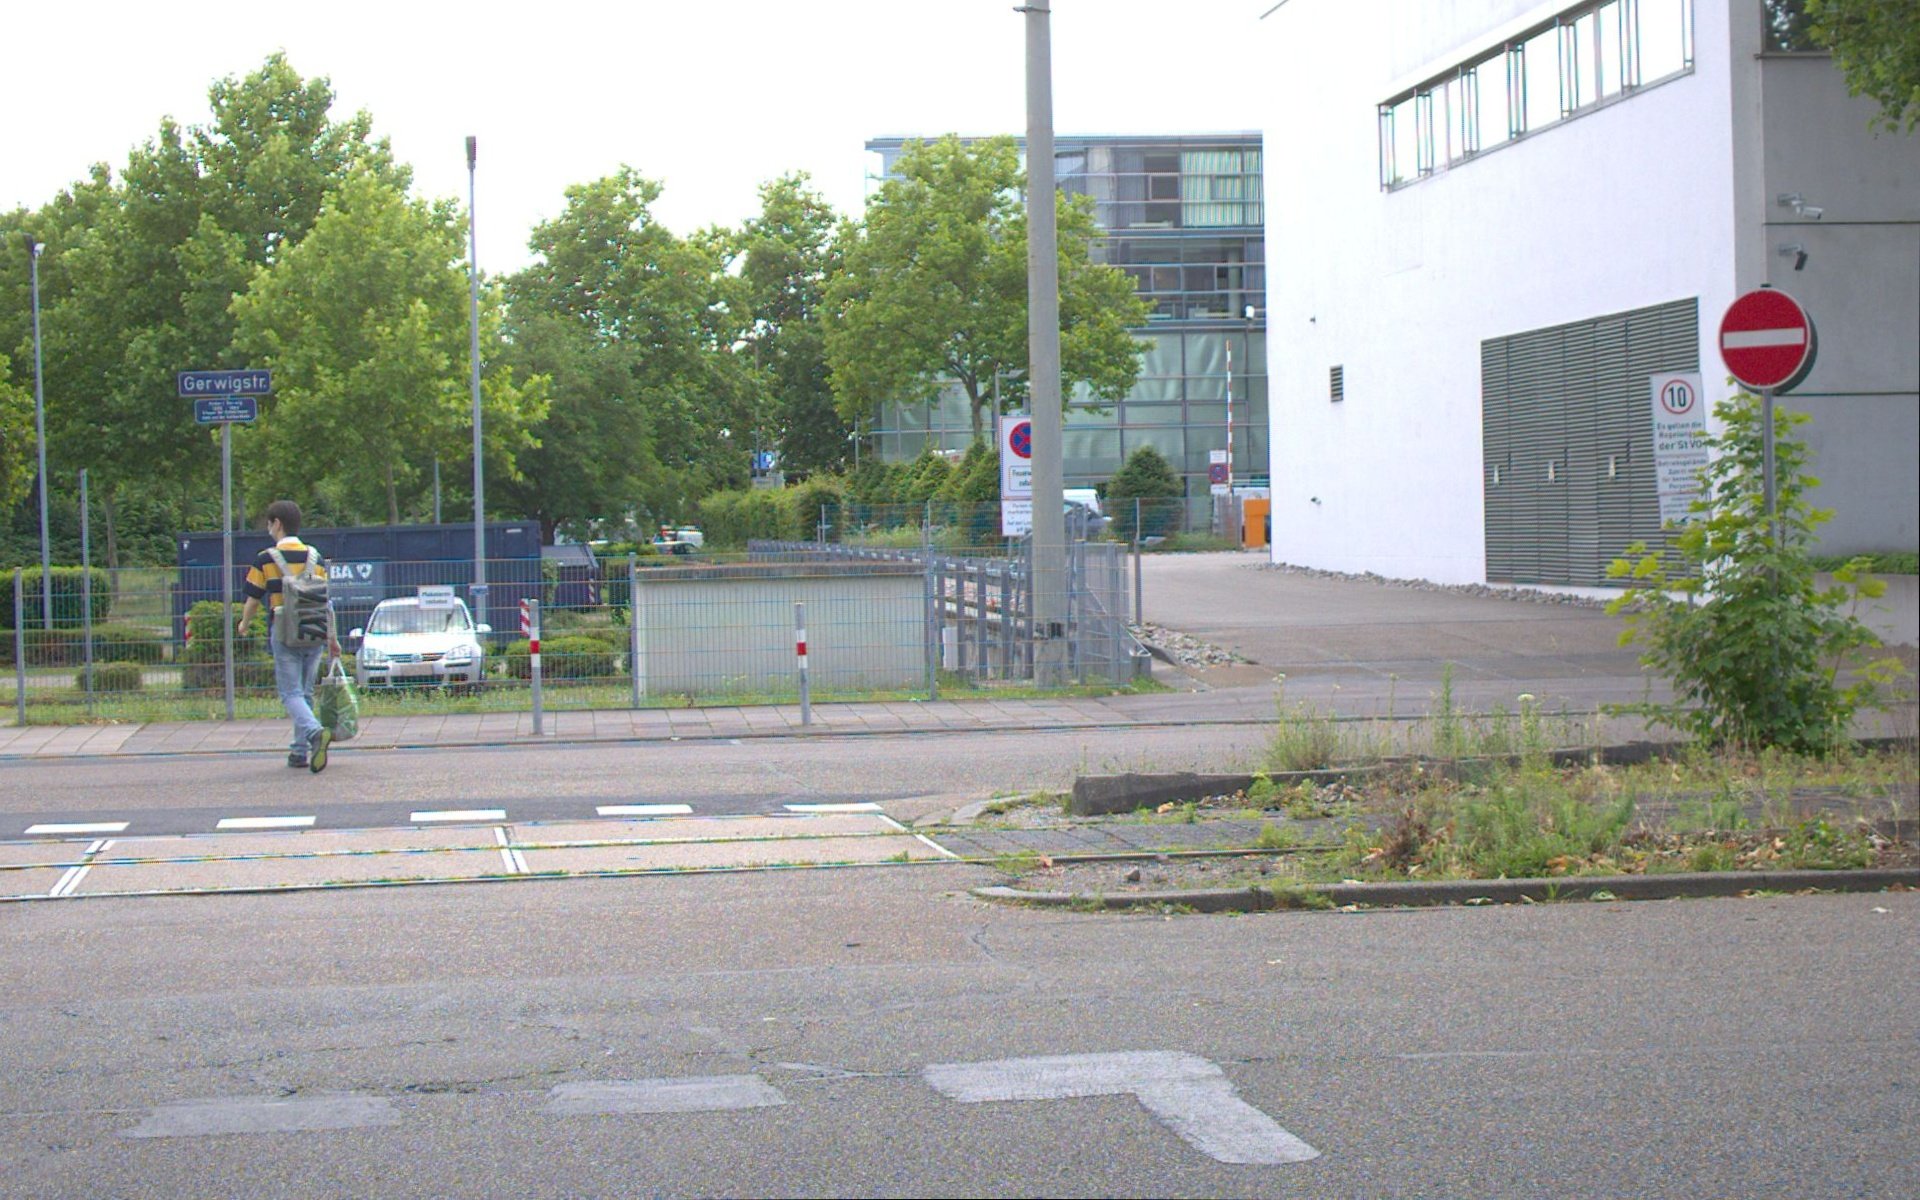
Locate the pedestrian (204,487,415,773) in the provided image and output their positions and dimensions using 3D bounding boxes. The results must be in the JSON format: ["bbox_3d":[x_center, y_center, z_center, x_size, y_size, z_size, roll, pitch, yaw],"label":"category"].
[{"bbox_3d":[-4.367,0.181,23.044,1.000,1.843,1.229,-2,1,-30],"label":"pedestrian"}]

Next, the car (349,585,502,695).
[{"bbox_3d":[-7.595,0.541,49.185,1.930,1.398,4.082,-2,1,-6],"label":"car"}]
